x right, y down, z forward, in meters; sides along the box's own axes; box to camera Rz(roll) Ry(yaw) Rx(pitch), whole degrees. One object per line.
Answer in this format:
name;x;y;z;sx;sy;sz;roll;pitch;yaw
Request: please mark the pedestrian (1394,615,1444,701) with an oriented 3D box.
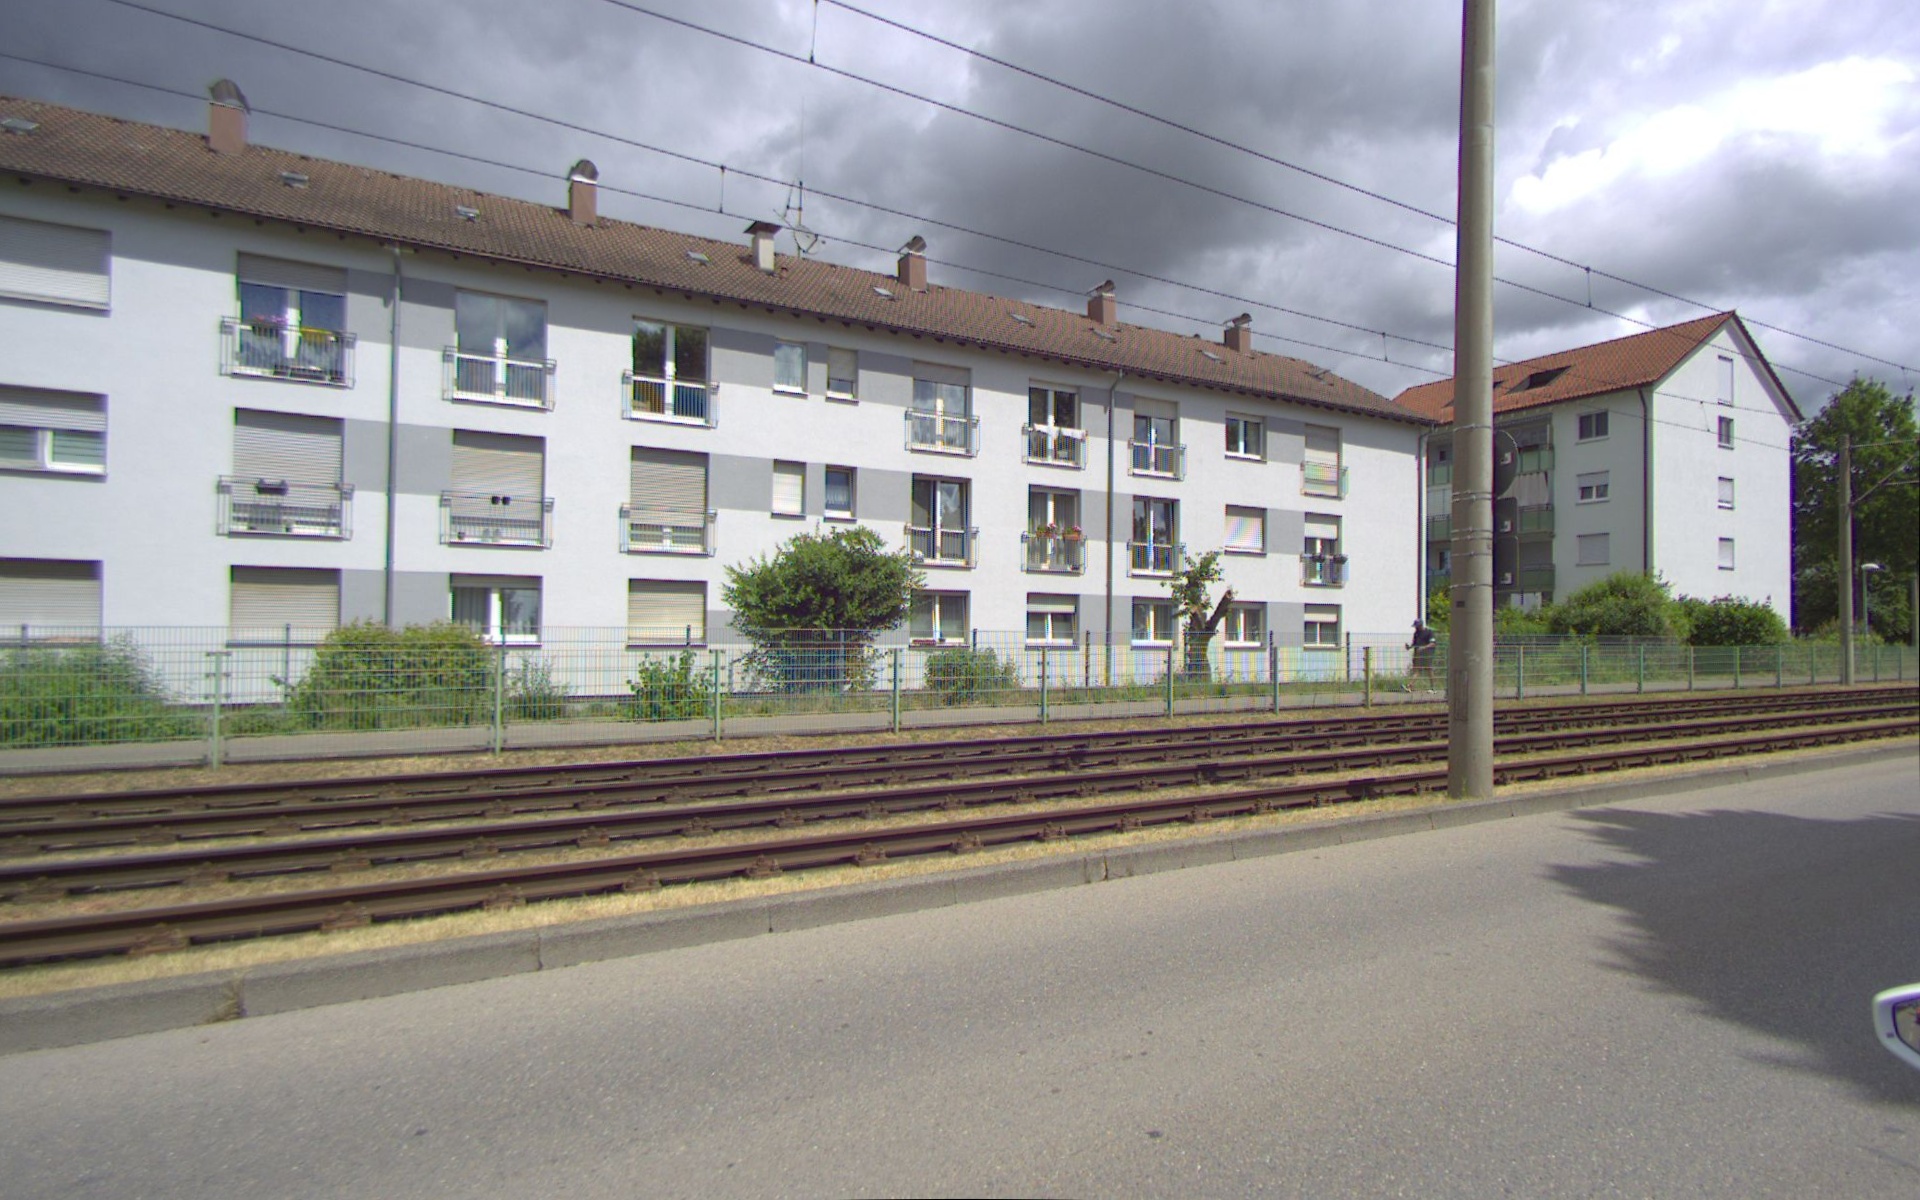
pedestrian;10.175;1.274;22.262;0.759;1.873;0.656;1;-3;-30
